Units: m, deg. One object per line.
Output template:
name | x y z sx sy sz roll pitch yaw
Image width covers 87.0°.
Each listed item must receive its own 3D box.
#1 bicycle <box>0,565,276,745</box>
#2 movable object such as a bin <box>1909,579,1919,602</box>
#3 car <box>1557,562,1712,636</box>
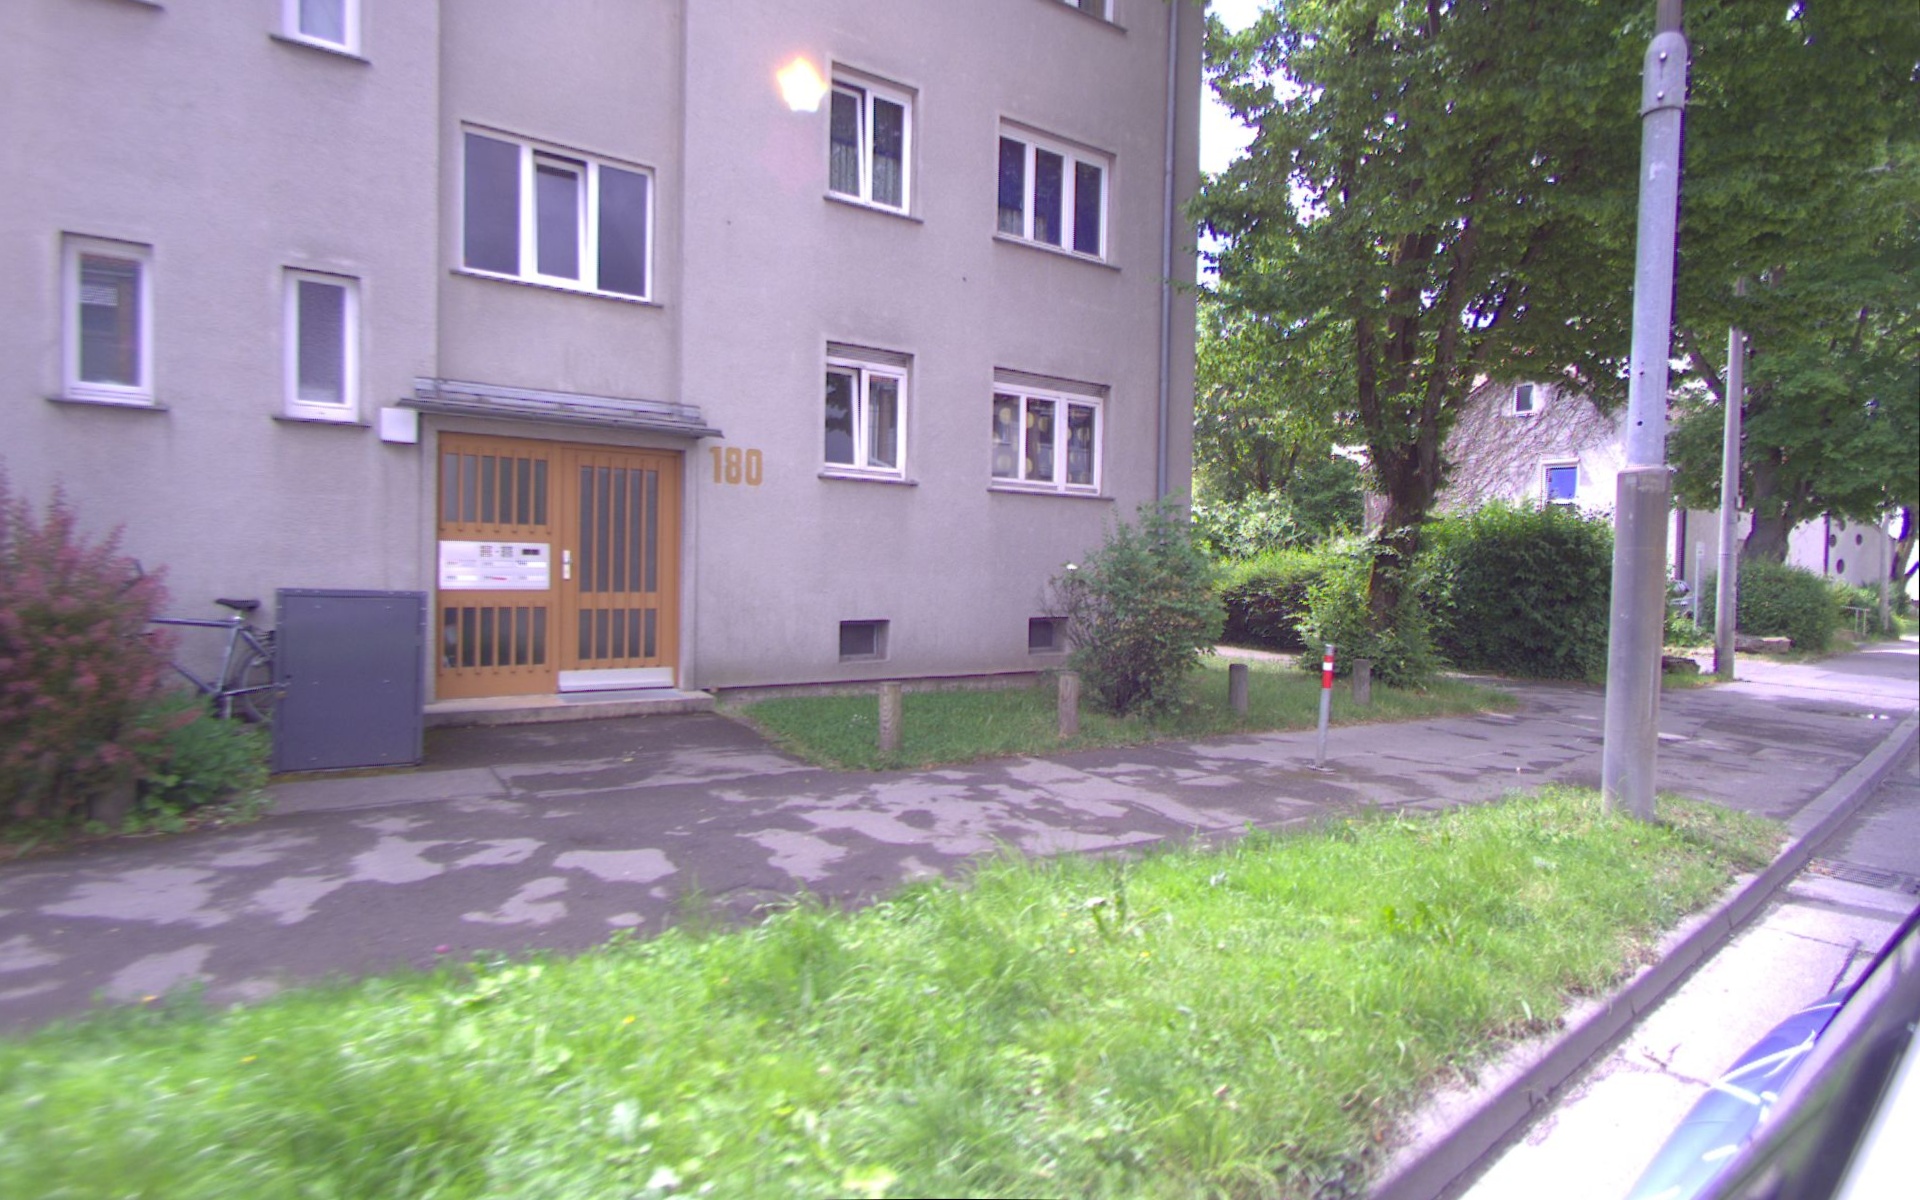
bicycle | -5.300 0.321 6.452 1.540 1.045 0.481 0 2 -33
movable object such as a bin | 83.860 -0.756 86.746 1.960 2.038 2.972 2 2 -5
car | 17.101 -0.054 25.628 3.923 1.669 1.819 0 3 -34
